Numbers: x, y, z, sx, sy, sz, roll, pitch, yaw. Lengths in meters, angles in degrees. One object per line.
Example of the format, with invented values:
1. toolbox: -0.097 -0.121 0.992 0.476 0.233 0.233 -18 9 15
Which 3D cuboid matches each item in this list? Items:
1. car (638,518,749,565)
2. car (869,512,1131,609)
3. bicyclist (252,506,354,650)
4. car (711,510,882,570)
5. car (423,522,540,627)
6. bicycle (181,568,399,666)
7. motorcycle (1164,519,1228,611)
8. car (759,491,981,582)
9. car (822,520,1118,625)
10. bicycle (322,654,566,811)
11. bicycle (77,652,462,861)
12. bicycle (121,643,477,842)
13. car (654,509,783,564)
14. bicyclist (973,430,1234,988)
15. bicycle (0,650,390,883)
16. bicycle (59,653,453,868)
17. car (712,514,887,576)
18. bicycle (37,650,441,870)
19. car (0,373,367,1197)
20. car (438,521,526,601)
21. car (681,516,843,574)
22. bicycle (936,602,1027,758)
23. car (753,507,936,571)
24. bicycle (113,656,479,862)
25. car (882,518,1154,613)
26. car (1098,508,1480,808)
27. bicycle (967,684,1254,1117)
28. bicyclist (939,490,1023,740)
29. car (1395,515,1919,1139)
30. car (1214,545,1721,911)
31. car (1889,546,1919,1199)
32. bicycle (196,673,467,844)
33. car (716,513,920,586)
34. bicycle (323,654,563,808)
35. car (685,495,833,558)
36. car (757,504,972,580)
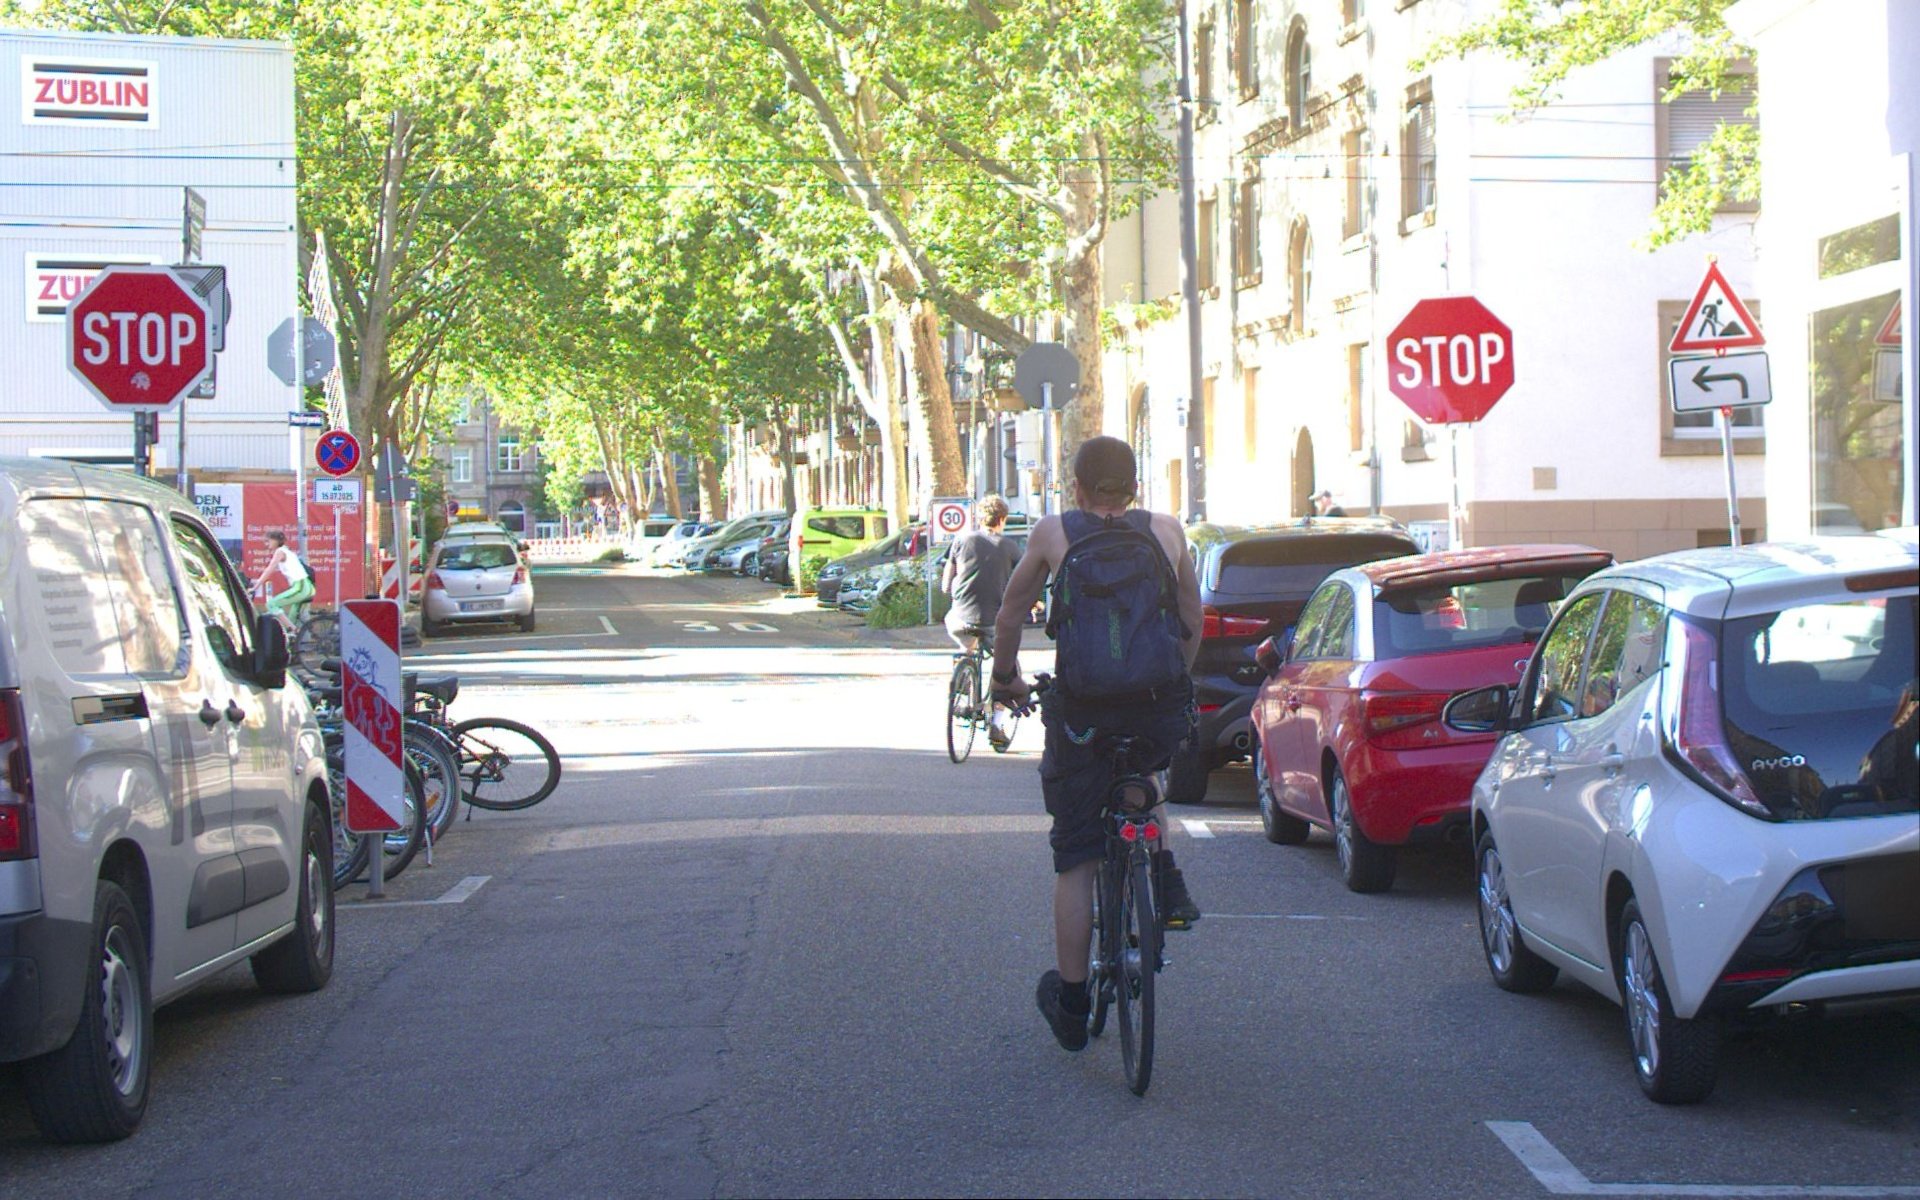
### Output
1. car: -11.032 -2.417 142.198 4.460 1.891 1.729 -1 1 -8
2. car: 0.695 -0.725 61.558 4.460 1.665 1.729 -1 1 -8
3. bicyclist: -7.623 -0.254 39.925 1.096 1.634 0.896 -1 0 -7
4. car: -4.458 -1.640 93.251 4.460 1.565 1.729 -1 1 -8
5. car: -7.545 -0.433 54.027 1.643 1.489 4.001 -3 2 -9
6. bicycle: -7.755 0.194 39.908 2.422 1.089 0.896 -1 0 -7
7. motorcycle: 3.477 -0.533 50.755 0.513 1.328 1.764 -1 2 -10
8. car: -1.909 -1.348 72.365 4.460 1.830 1.729 -1 1 -9
9. car: 0.140 -0.454 54.517 4.460 1.565 1.729 -1 1 -8
10. bicycle: -2.853 0.728 18.990 1.308 0.815 0.355 -1 1 -10
11. bicycle: -3.330 0.750 16.658 1.764 0.958 0.443 -1 1 -2
12. bicycle: -3.385 0.723 17.702 1.764 0.958 0.428 -1 1 -8
13. car: -8.654 -2.284 122.943 4.460 1.891 1.729 -1 1 -8
14. bicyclist: 0.391 0.290 9.677 0.676 1.508 0.669 1 1 -1
15. bicycle: -3.472 0.736 15.369 1.764 0.985 0.463 -1 1 -2
16. bicycle: -3.314 0.751 16.256 1.764 0.958 0.422 -1 1 -2
17. car: -4.251 -1.456 90.784 4.460 1.565 1.729 -1 1 -8
18. bicycle: -3.309 0.730 15.839 1.764 0.958 0.405 -1 1 -2
19. car: -3.023 0.432 10.206 1.679 1.903 4.519 -4 1 -1
20. car: -9.796 -0.820 70.302 1.665 1.557 4.001 -1 1 -9
21. car: -5.645 -1.573 97.908 4.460 1.565 1.729 -1 1 -8
22. bicycle: 0.137 0.527 23.442 0.551 1.013 1.628 0 1 -2
23. car: -2.959 -1.568 87.717 4.460 1.565 1.729 -1 1 -8
24. bicycle: -3.333 0.786 17.271 1.764 0.958 0.481 -1 1 -13
25. car: 0.987 -0.615 59.492 4.460 1.565 1.729 -1 1 -8
26. car: 1.927 0.284 21.327 1.760 1.656 4.198 1 1 -3
27. bicycle: 0.386 0.791 9.731 0.689 1.013 1.907 1 1 -1
28. bicyclist: 0.137 0.099 23.430 0.542 1.682 0.653 0 0 -2
29. car: 2.500 0.546 10.655 1.636 1.581 3.789 1 1 -3
30. car: 2.281 0.509 16.414 1.645 1.498 3.955 1 1 -3
31. car: 2.432 0.720 3.568 1.679 1.505 4.190 1 1 -2
32. bicycle: -3.384 0.847 18.537 1.386 0.815 0.362 -3 2 -10
33. car: -3.240 -1.161 78.205 4.460 1.565 1.729 -1 1 -8
34. bicycle: -2.914 0.733 19.360 1.308 0.815 0.371 -1 1 -10
35. car: -6.309 -2.304 107.533 4.460 1.891 1.729 -1 1 -8
36. car: -2.088 -1.269 74.377 4.460 1.565 1.729 -1 1 -8
